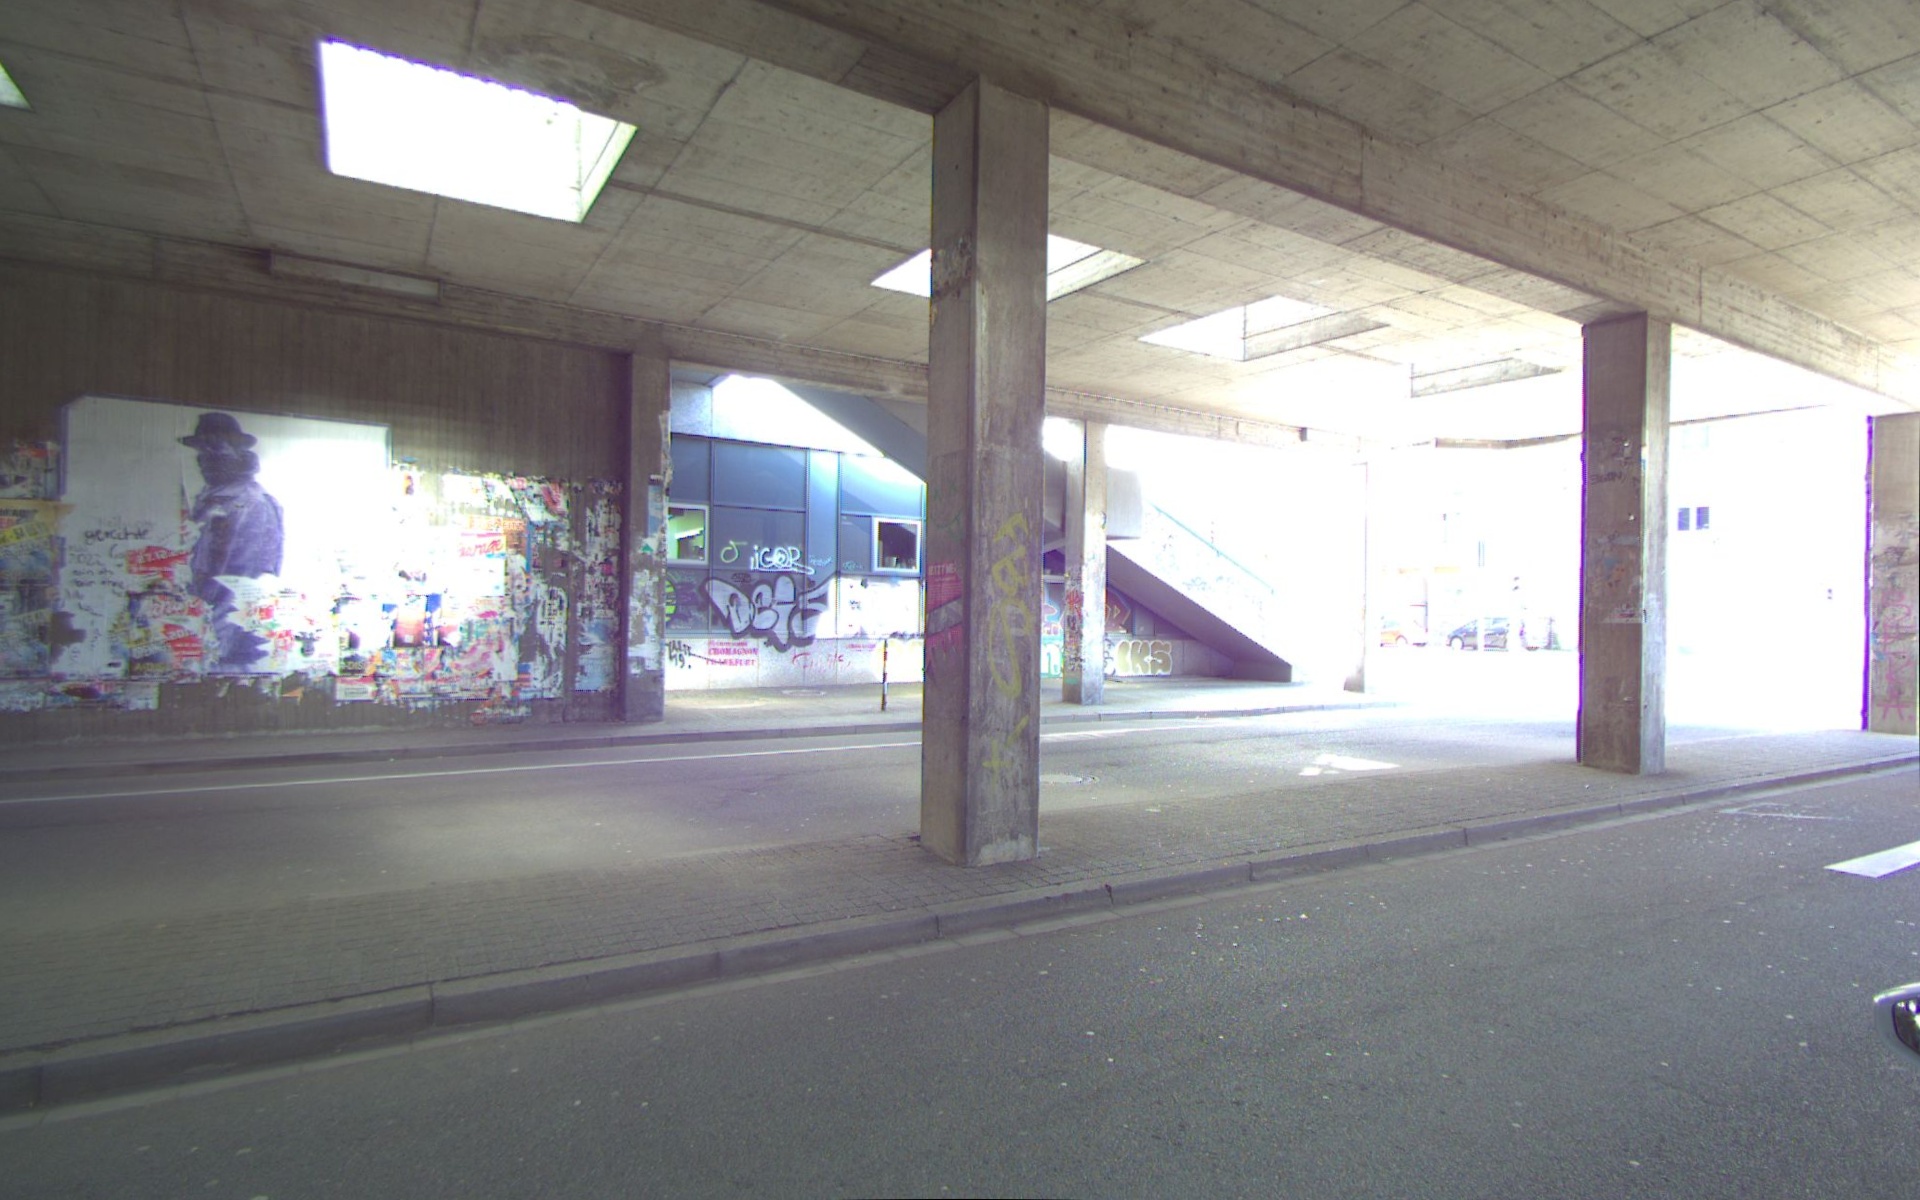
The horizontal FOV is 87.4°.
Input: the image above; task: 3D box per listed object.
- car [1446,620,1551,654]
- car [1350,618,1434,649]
[{"bbox_3d":[25.482,1.720,47.662,1.718,1.495,4.089,2,-1,-31],"label":"car"},{"bbox_3d":[22.570,1.741,52.617,1.730,1.495,3.741,2,-1,-31],"label":"car"}]
